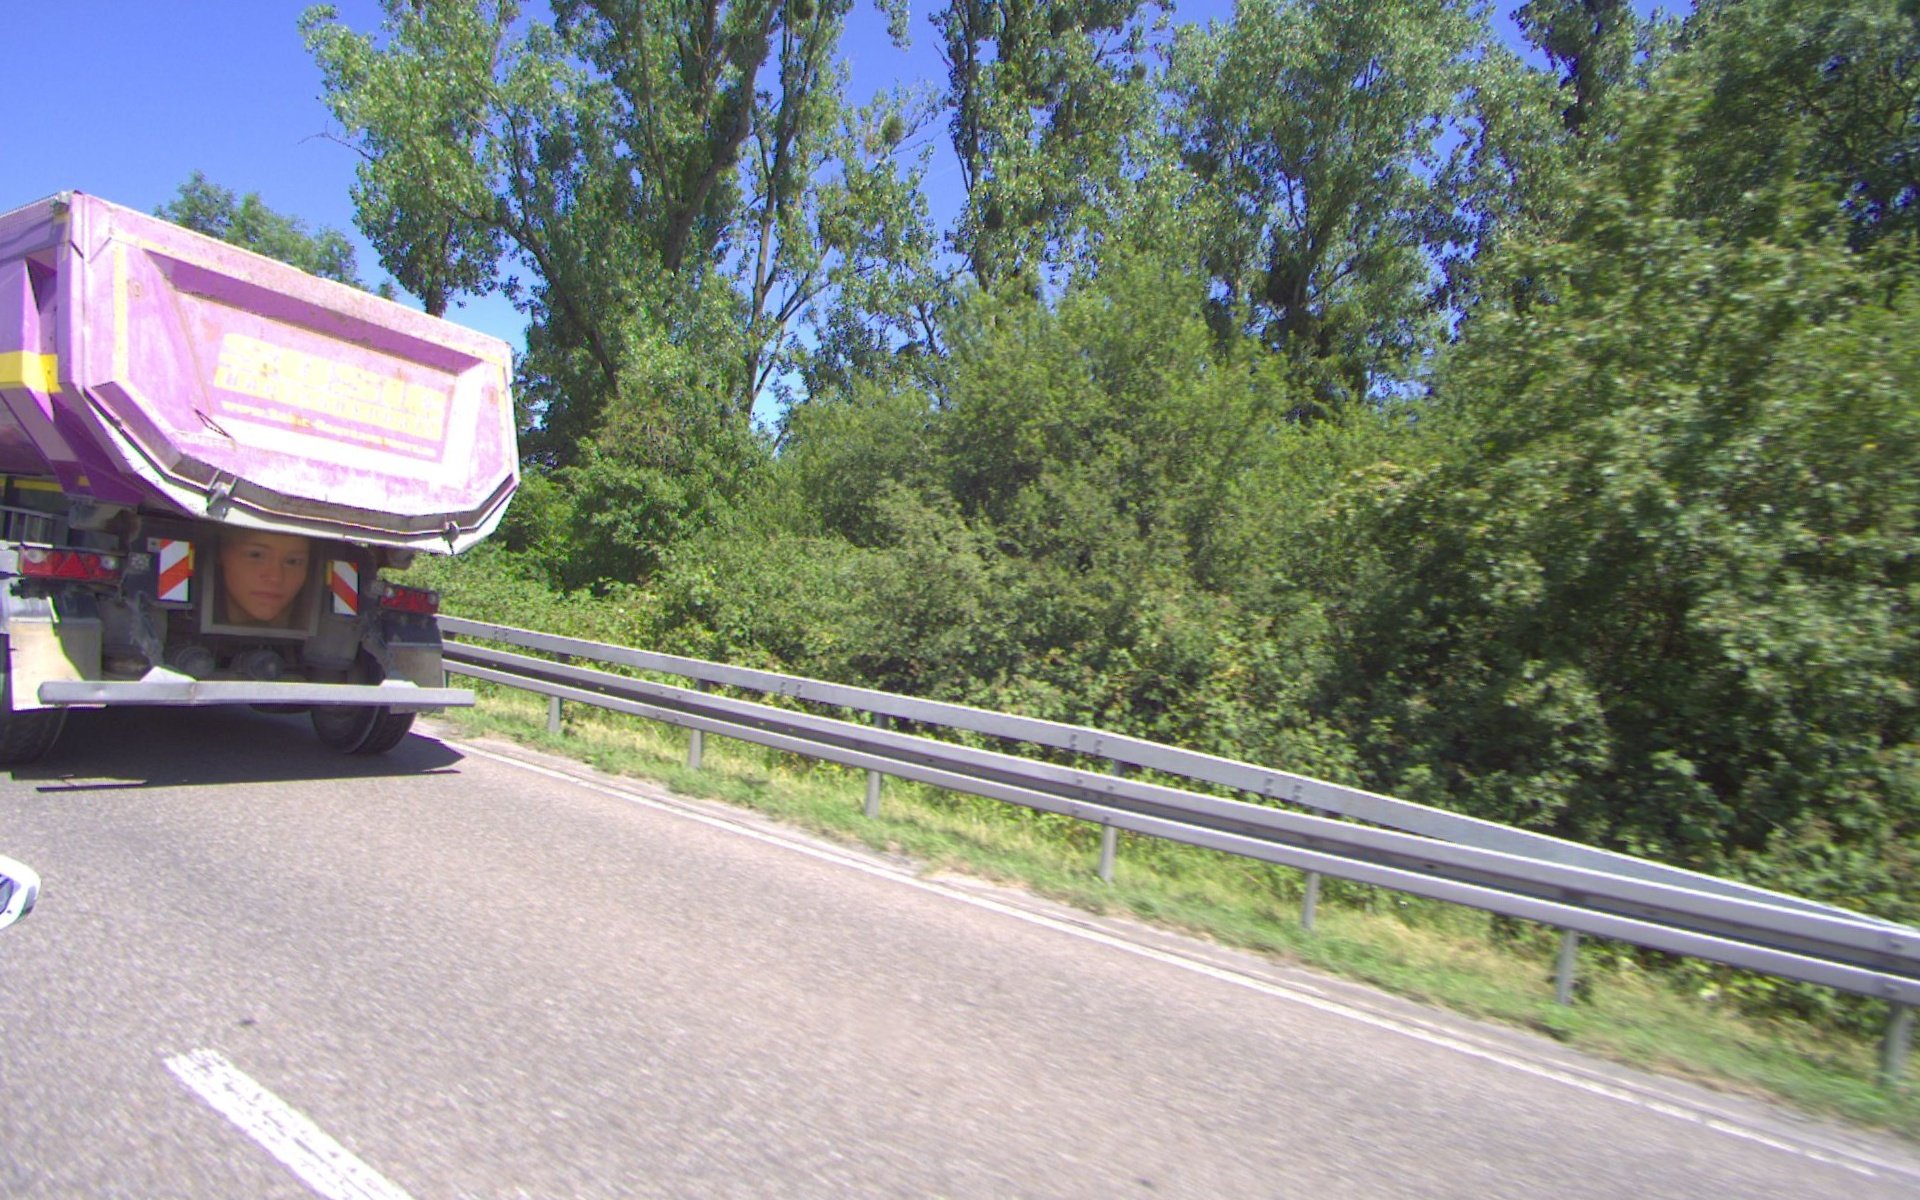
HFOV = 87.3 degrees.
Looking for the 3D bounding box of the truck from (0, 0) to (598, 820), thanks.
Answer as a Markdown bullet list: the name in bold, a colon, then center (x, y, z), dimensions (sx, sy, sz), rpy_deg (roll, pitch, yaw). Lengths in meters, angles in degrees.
- **truck**: center (-8.628, -1.385, 9.018), dimensions (12.164, 3.975, 2.726), rpy_deg (6, -2, 31)
